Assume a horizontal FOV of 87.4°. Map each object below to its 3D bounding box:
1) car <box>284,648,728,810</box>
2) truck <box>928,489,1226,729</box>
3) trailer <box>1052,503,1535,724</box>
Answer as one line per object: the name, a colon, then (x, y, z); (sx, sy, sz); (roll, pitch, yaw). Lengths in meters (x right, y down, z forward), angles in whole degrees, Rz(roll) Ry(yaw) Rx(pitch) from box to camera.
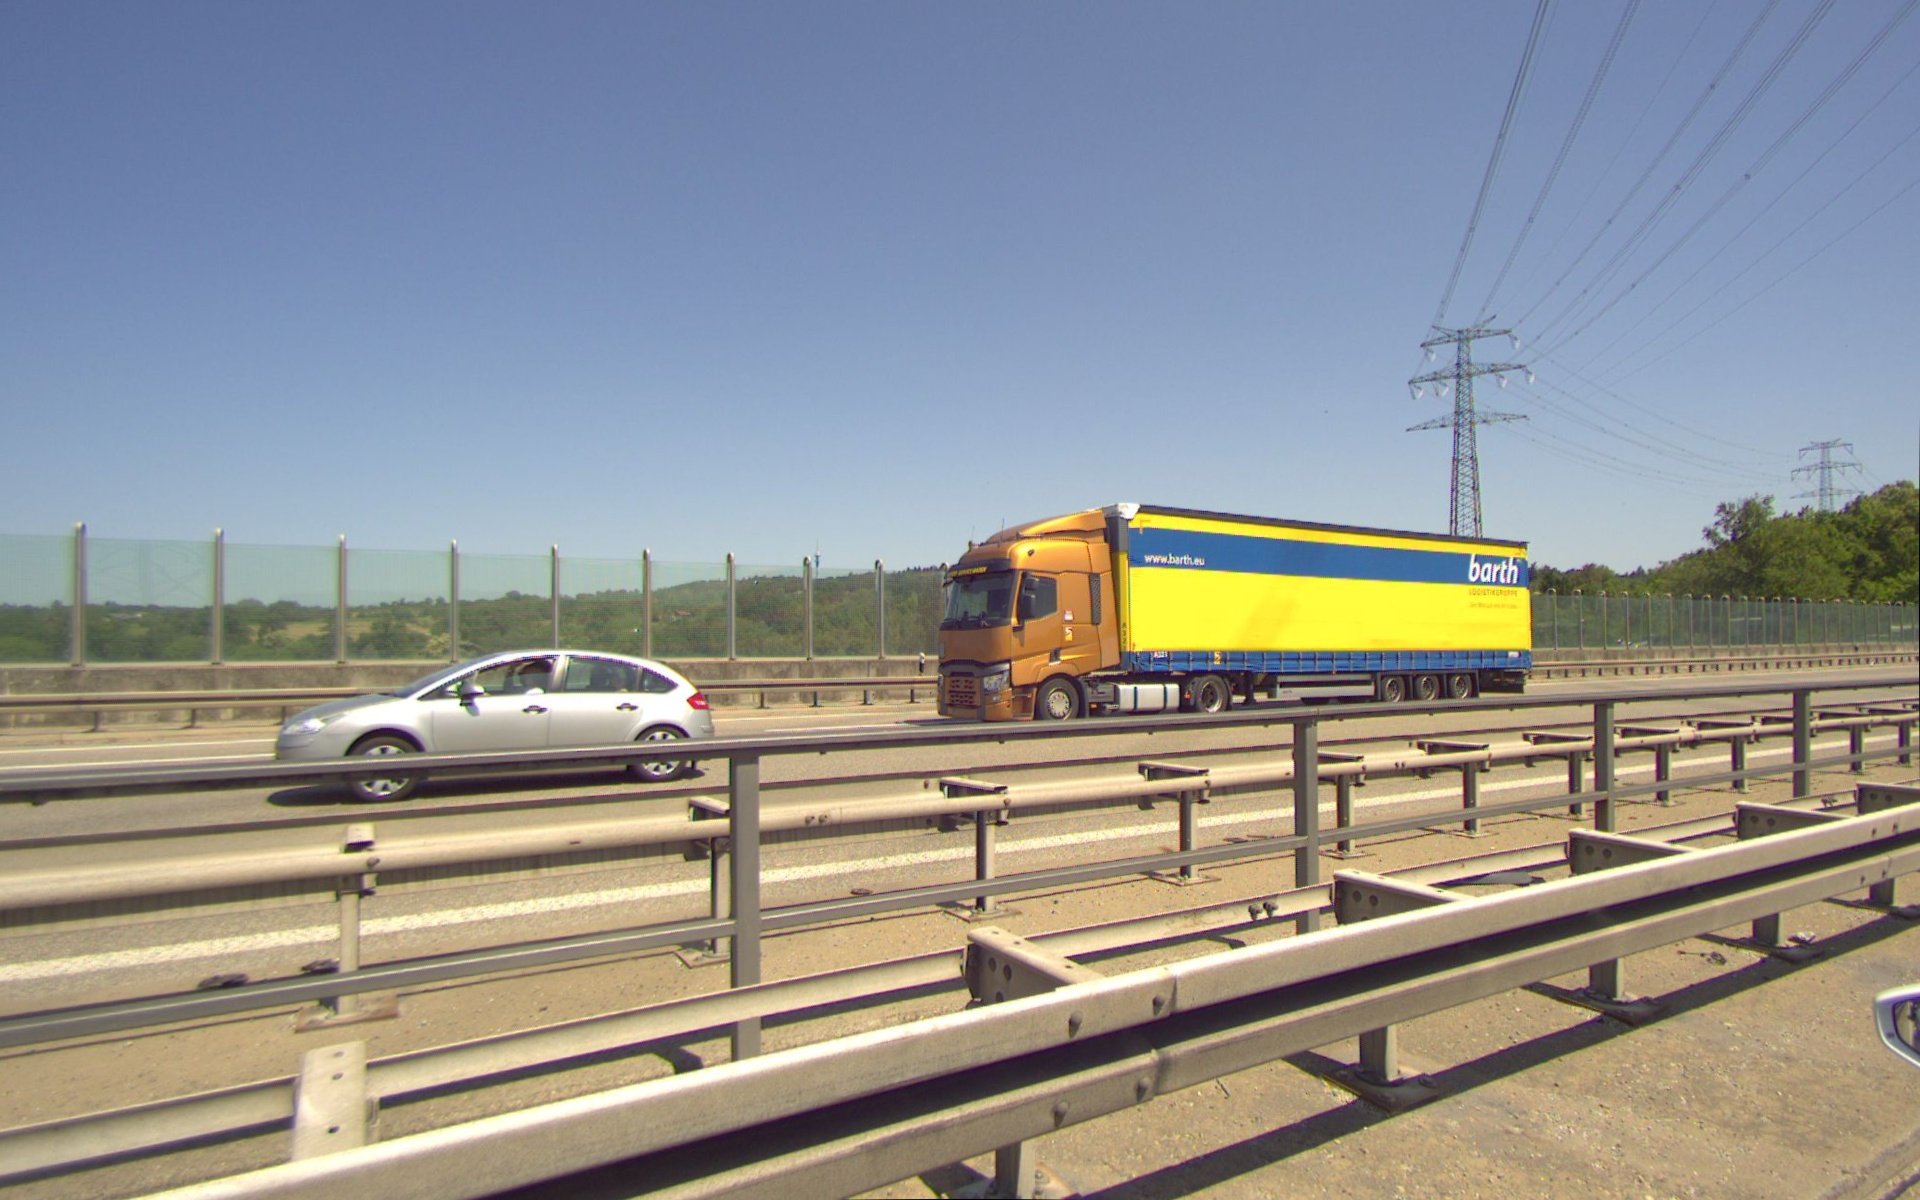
car: (-4.710, 1.228, 10.721); (4.032, 1.400, 1.754); (1, -3, -31)
truck: (2.347, 0.276, 19.674); (5.479, 4.111, 2.403); (2, -3, -31)
trailer: (8.336, 0.404, 23.323); (13.644, 4.117, 2.411); (1, -2, -31)
